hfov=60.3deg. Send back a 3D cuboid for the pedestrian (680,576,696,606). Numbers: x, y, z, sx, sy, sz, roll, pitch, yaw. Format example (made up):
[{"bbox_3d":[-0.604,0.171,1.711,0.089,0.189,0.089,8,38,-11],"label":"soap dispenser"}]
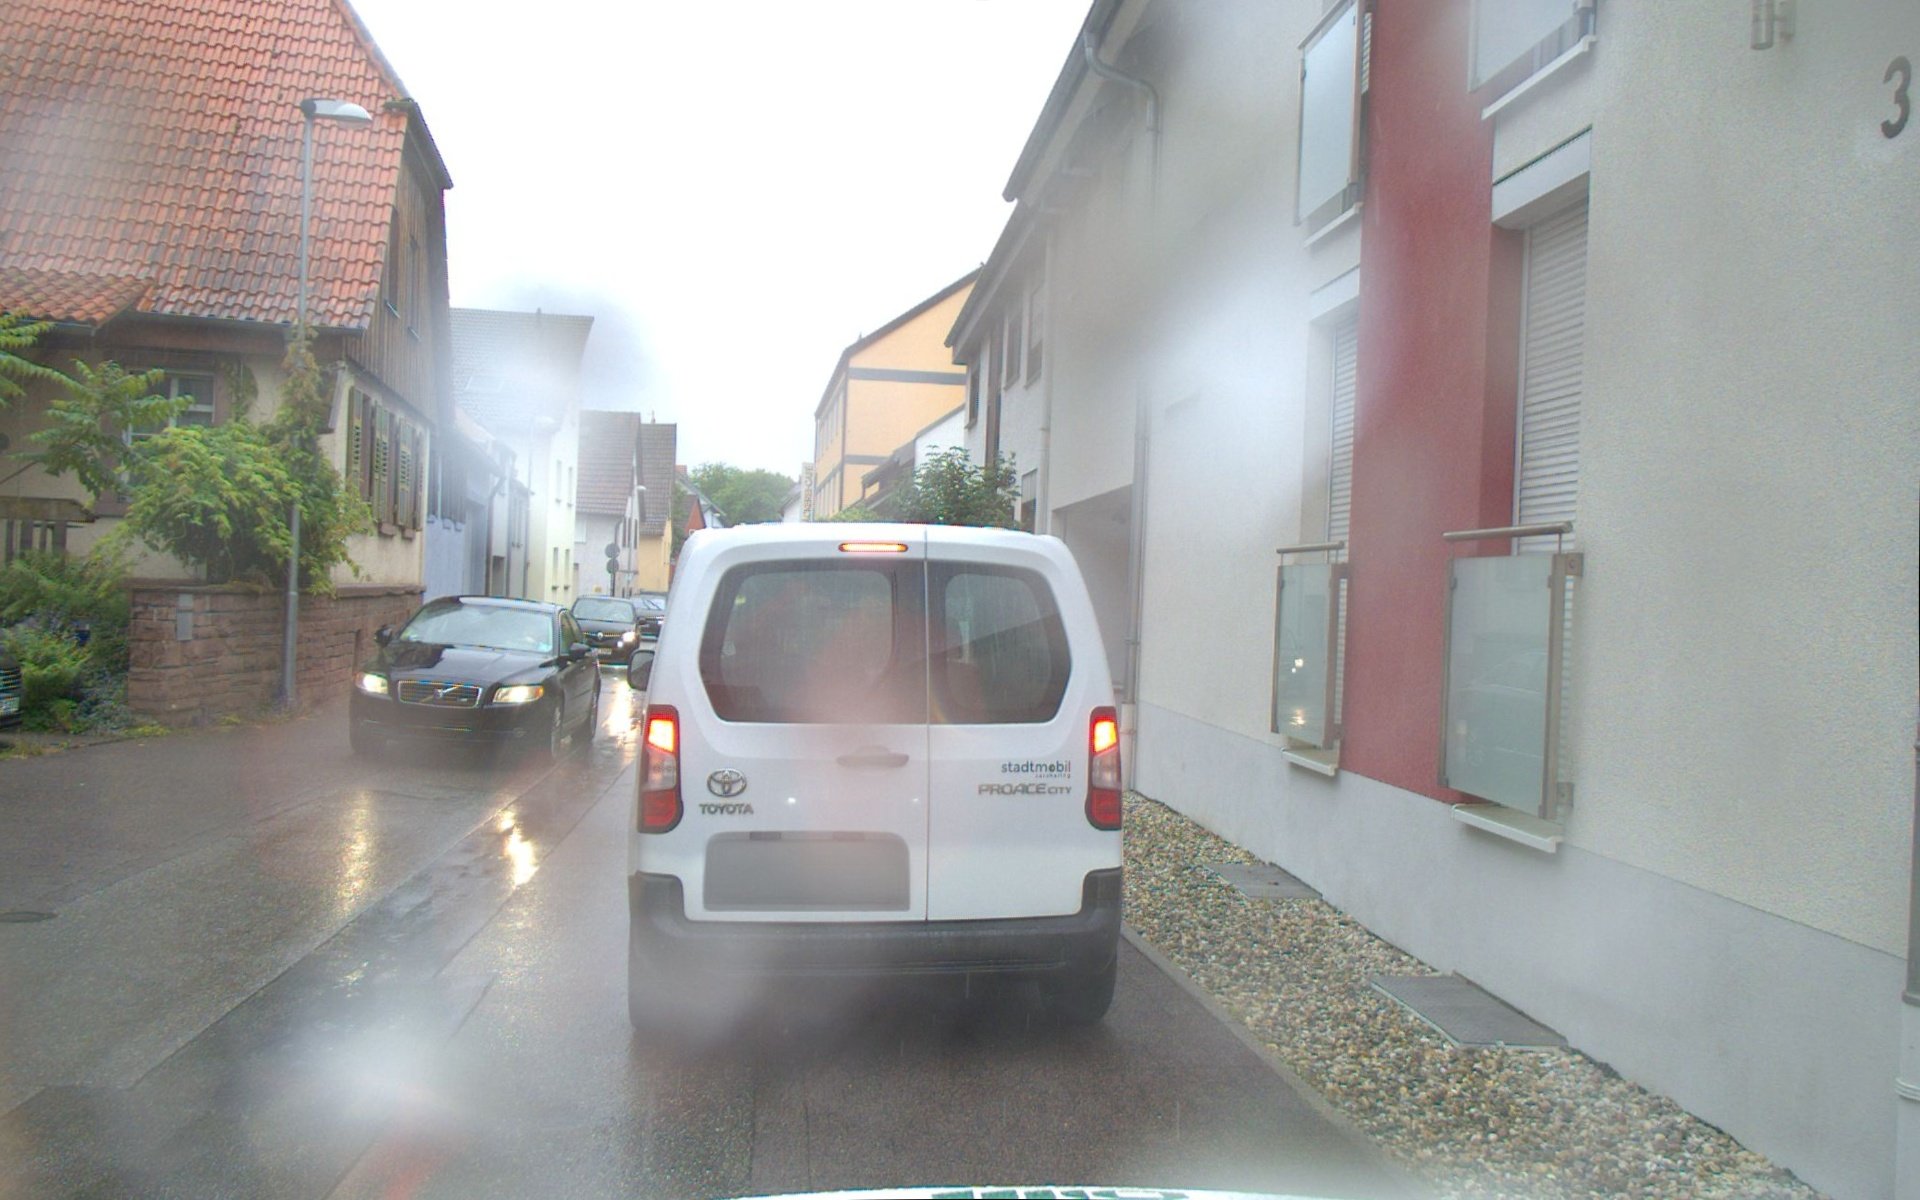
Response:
[{"bbox_3d":[-18.019,-0.583,109.493,1.031,1.926,0.875,1,-1,-9],"label":"pedestrian"}]

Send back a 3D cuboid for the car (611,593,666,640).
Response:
[{"bbox_3d":[-11.567,0.565,59.713,1.799,1.583,4.229,2,0,-10],"label":"car"}]

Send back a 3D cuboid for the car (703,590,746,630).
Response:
[{"bbox_3d":[-9.324,0.384,65.244,1.532,1.503,3.990,1,0,-10],"label":"car"}]

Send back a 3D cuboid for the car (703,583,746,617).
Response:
[{"bbox_3d":[-10.438,-0.010,73.190,1.747,1.419,3.990,1,0,-10],"label":"car"}]

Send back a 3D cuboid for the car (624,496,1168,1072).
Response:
[{"bbox_3d":[-0.492,0.596,7.321,1.742,1.811,3.991,1,0,-9],"label":"car"}]

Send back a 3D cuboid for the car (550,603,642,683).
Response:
[{"bbox_3d":[-7.727,0.883,35.384,1.574,1.539,3.681,2,0,-8],"label":"car"}]

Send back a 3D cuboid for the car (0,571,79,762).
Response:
[{"bbox_3d":[-9.399,0.314,12.951,3.908,1.450,1.735,7,-1,-1],"label":"car"}]

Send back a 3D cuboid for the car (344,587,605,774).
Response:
[{"bbox_3d":[-4.557,0.694,16.127,1.663,1.535,4.335,2,-1,-6],"label":"car"}]

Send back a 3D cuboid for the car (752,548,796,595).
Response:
[{"bbox_3d":[-8.551,-1.301,76.257,1.955,2.049,3.995,1,0,-6],"label":"car"}]
